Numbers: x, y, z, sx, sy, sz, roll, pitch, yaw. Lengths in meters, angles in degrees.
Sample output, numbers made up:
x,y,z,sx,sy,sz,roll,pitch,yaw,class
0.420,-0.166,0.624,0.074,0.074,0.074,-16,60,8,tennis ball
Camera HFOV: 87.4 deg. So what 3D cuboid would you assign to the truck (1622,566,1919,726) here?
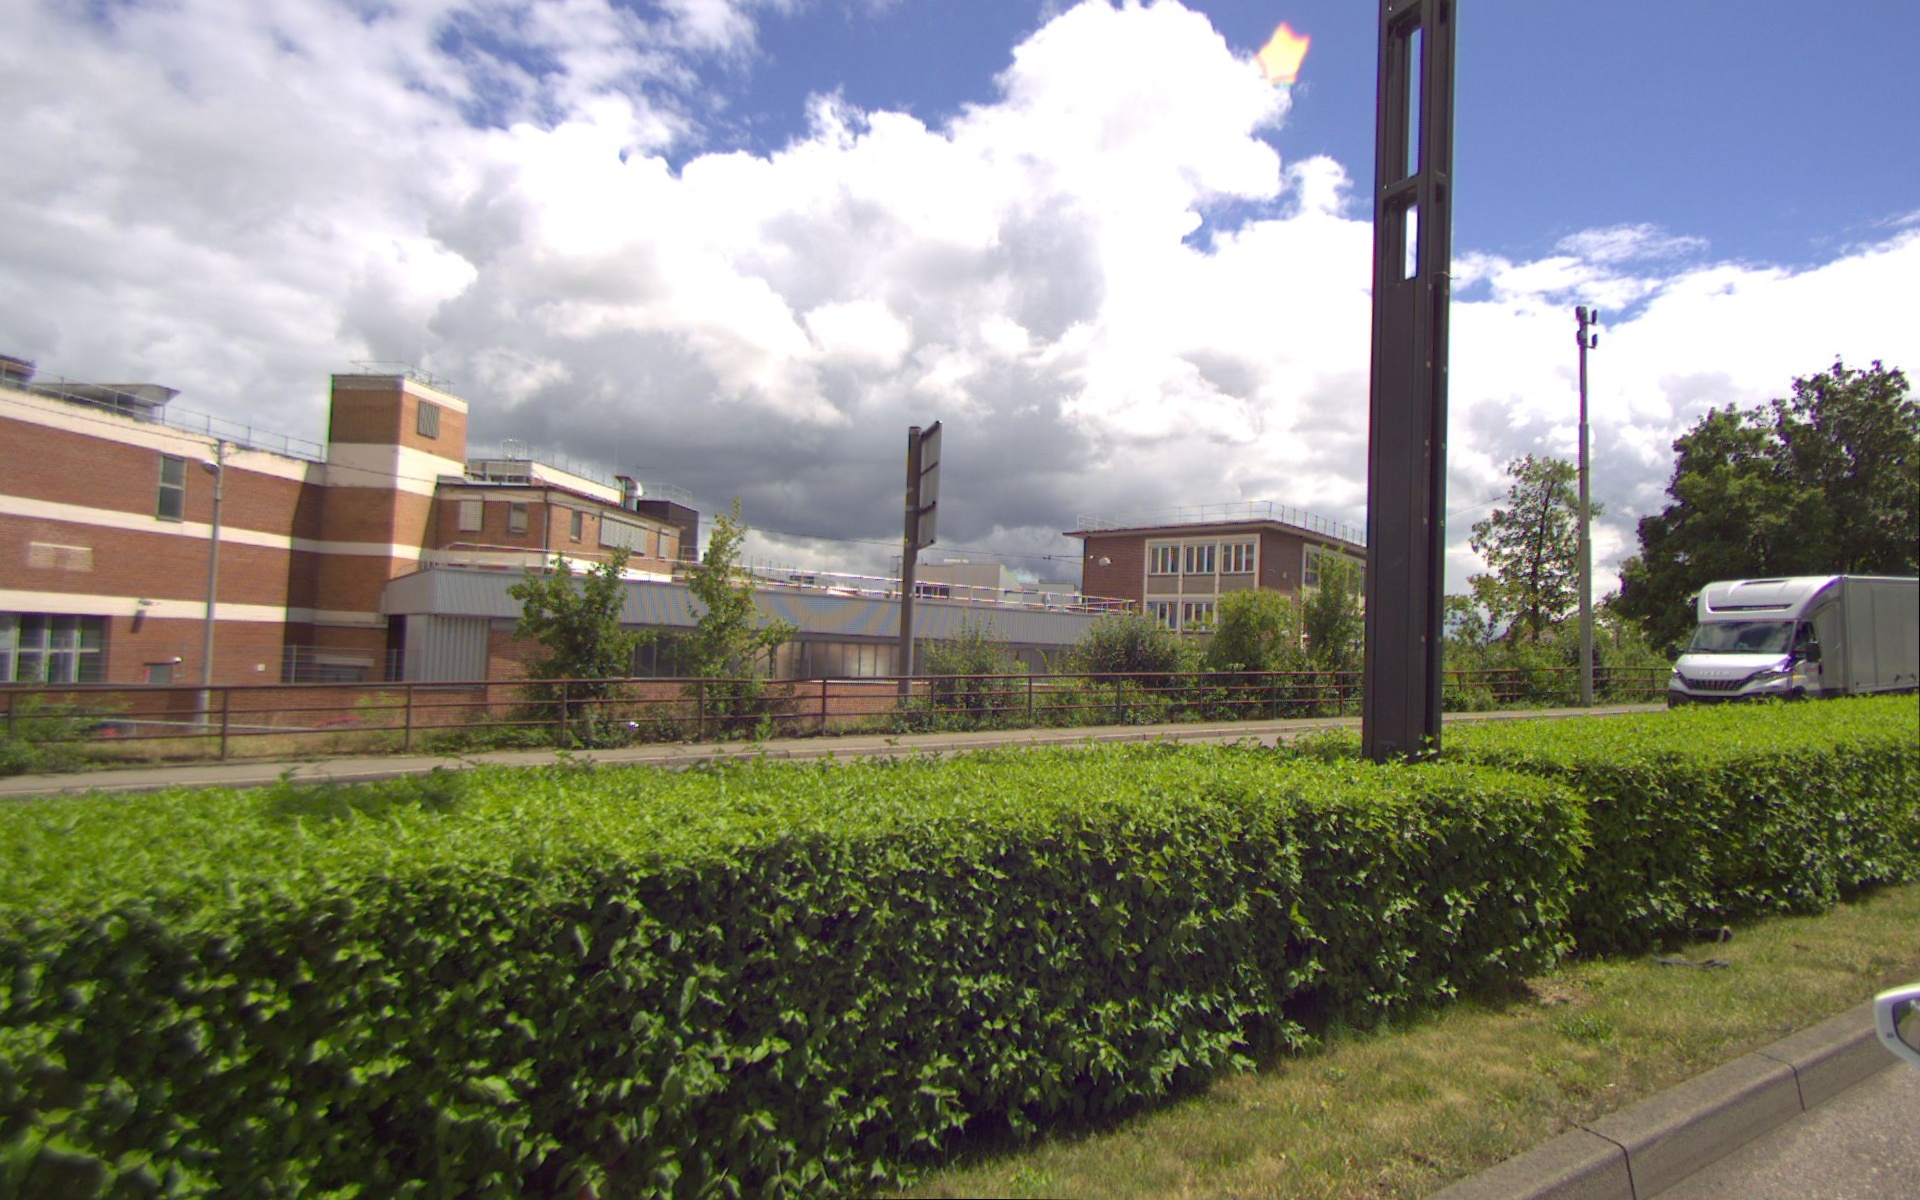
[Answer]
x,y,z,sx,sy,sz,roll,pitch,yaw,class
18.302,0.847,21.715,9.265,2.895,2.842,0,-1,-30,truck
